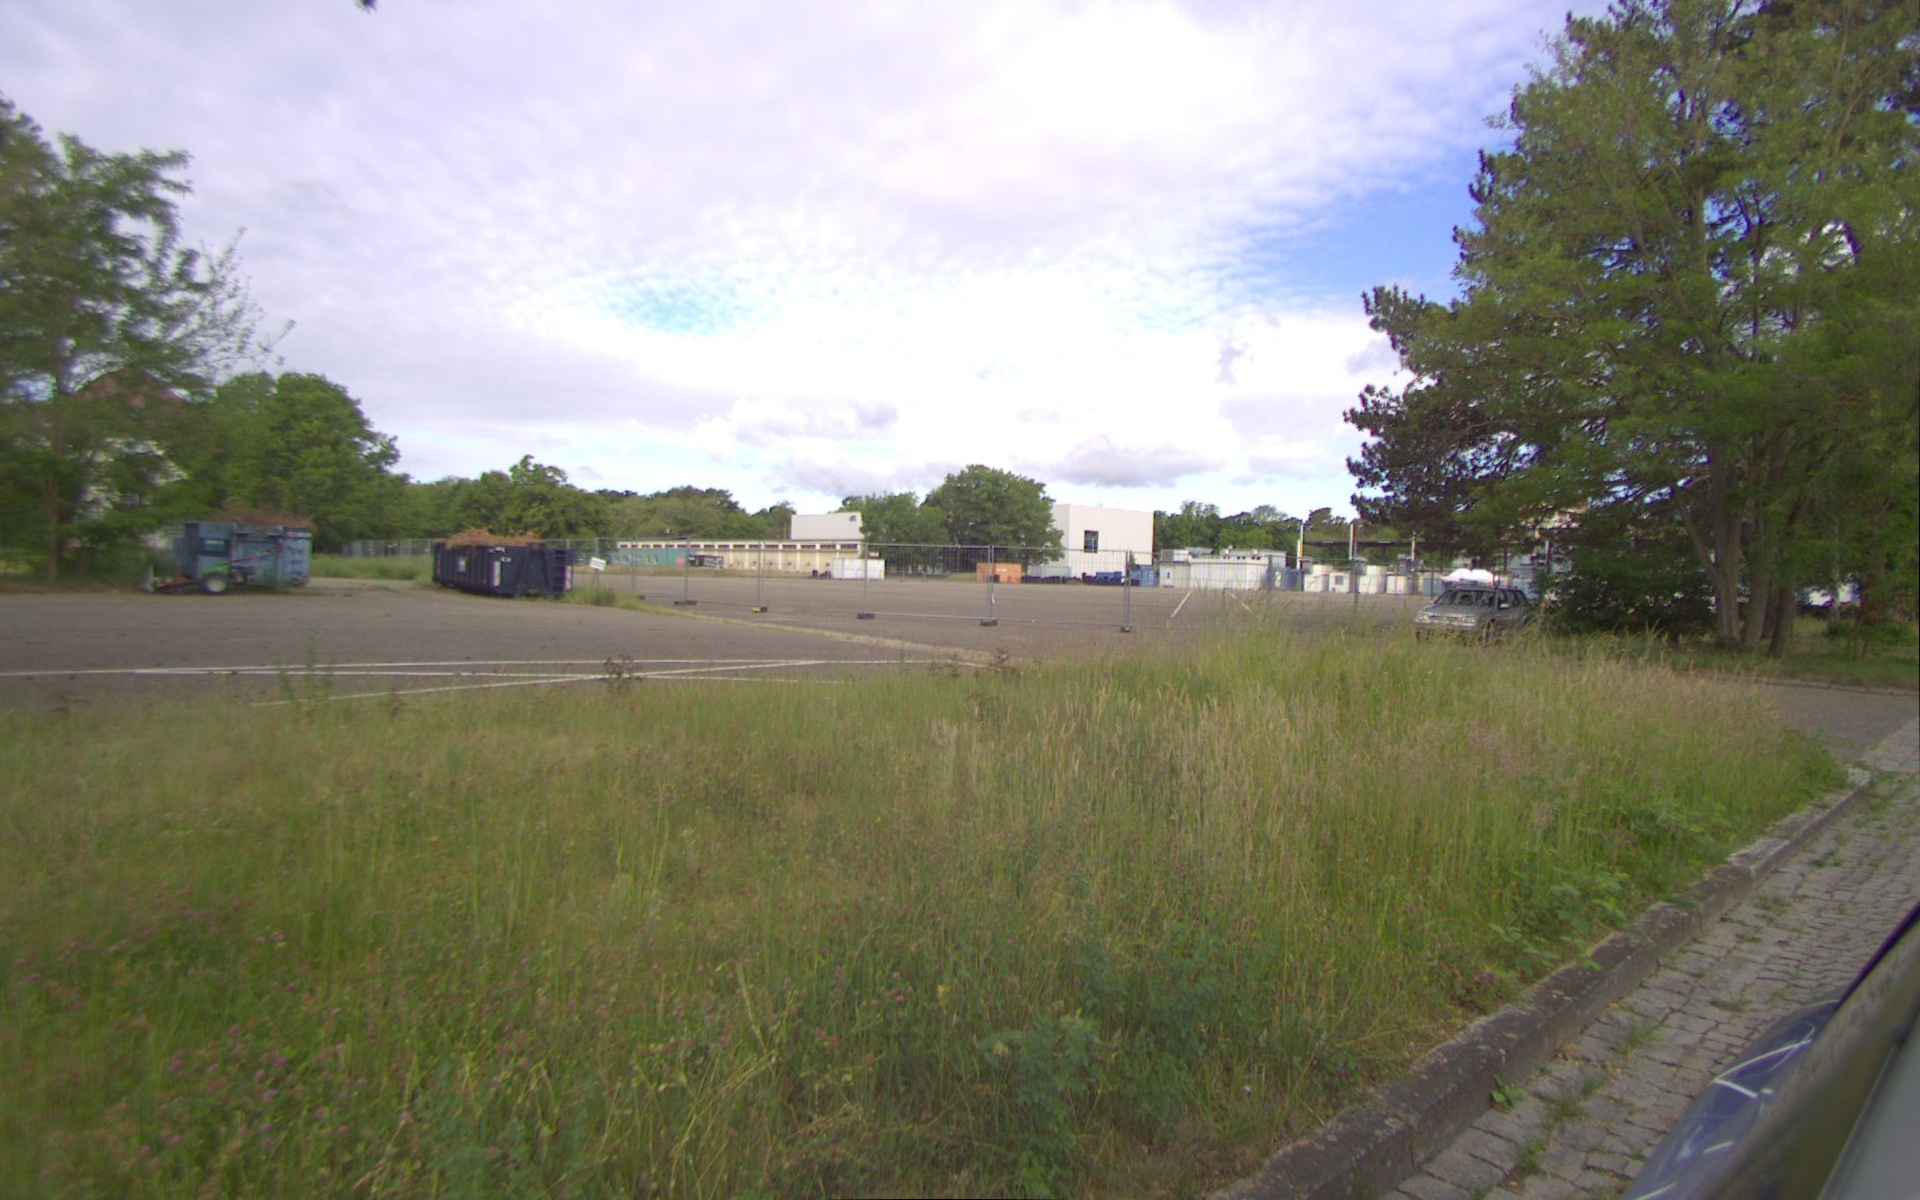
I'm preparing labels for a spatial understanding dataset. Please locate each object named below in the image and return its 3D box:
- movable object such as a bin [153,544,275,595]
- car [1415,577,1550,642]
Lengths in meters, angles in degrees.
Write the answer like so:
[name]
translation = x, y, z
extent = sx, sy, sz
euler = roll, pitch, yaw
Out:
[movable object such as a bin]
translation = -17.620, -0.706, 23.943
extent = 0.958, 1.148, 2.181
euler = 1, 1, 40
[car]
translation = 13.240, 0.188, 25.530
extent = 4.415, 1.468, 1.676
euler = 0, 2, -44
